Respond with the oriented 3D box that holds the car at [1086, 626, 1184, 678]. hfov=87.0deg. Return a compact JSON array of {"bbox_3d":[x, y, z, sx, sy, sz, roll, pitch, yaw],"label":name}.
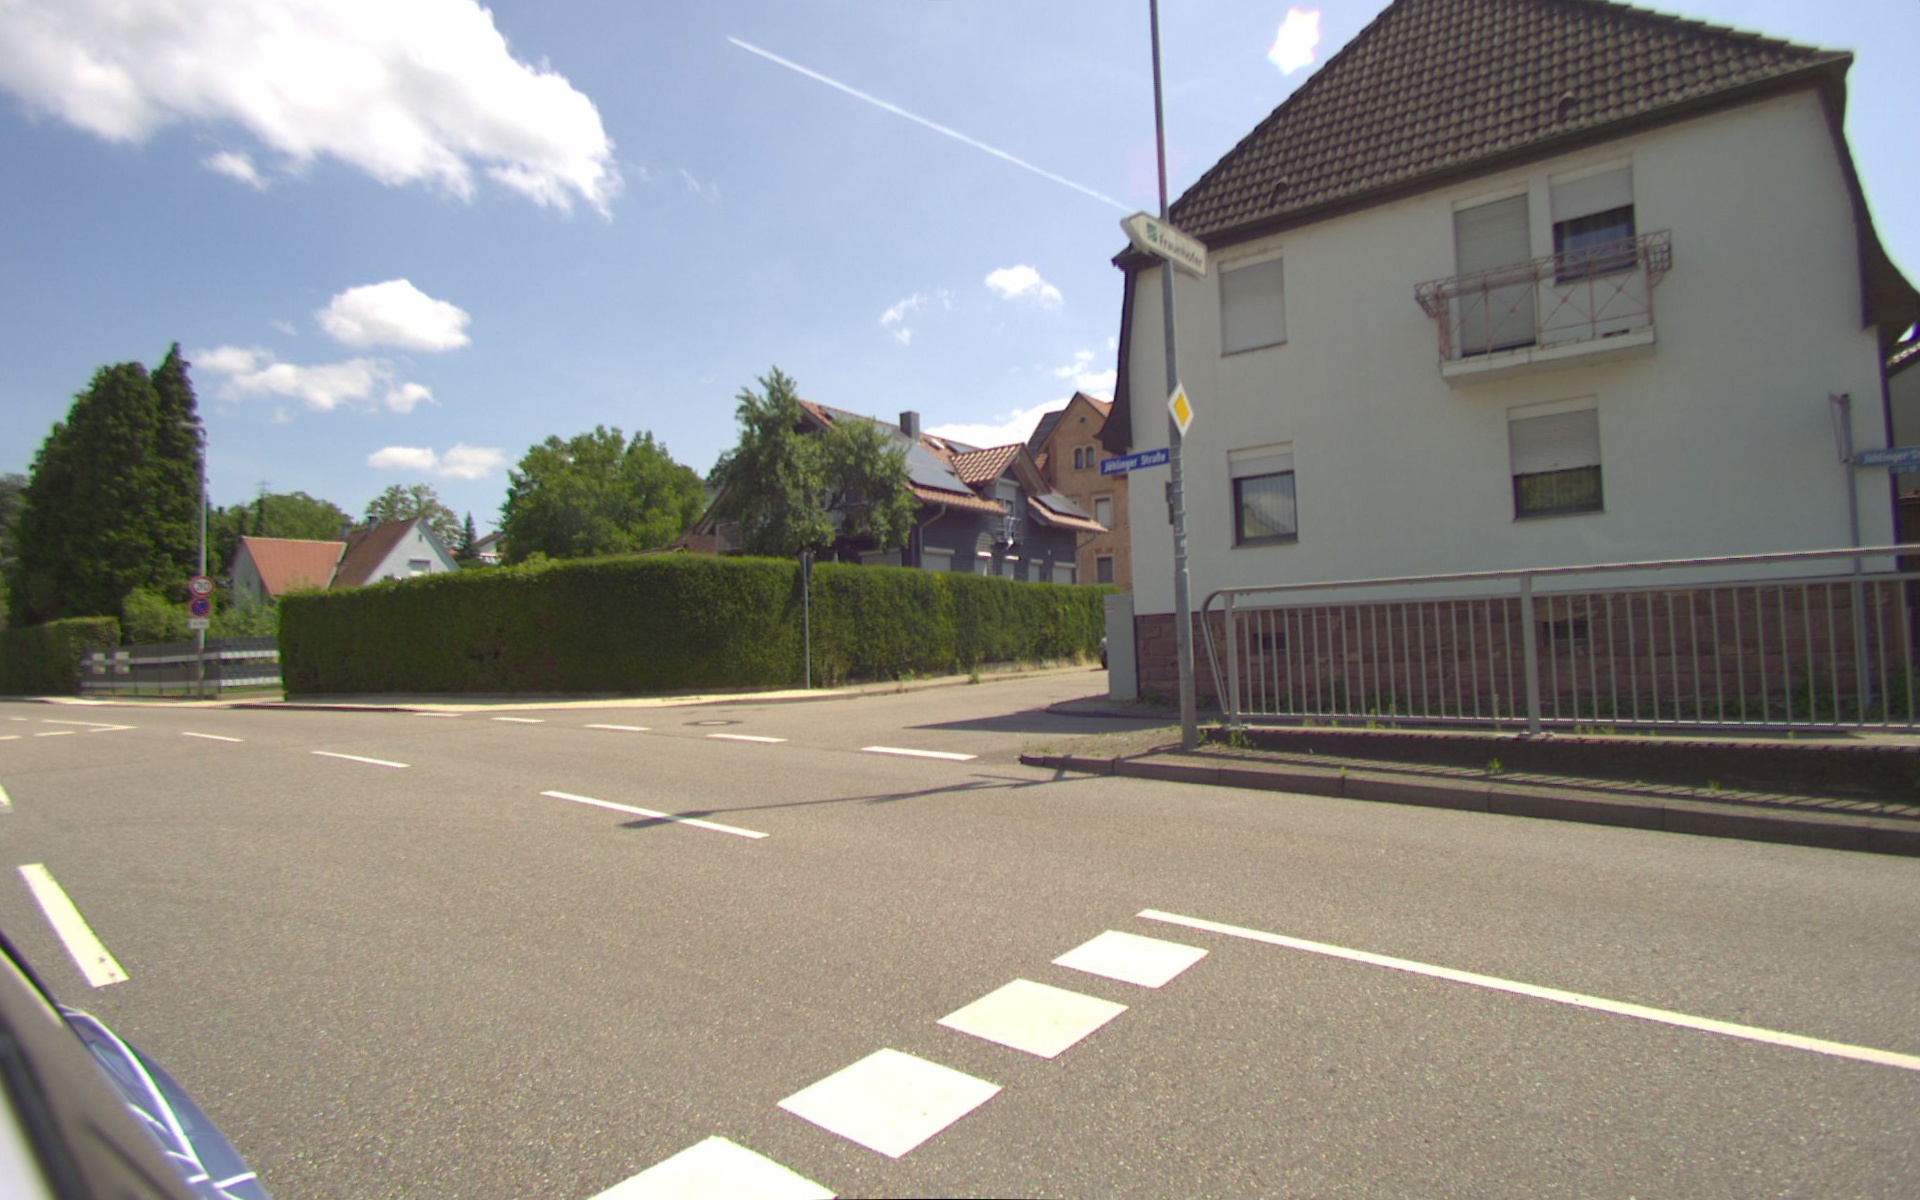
[{"bbox_3d":[5.805,1.671,33.306,1.786,1.478,3.731,-7,-4,33],"label":"car"}]
